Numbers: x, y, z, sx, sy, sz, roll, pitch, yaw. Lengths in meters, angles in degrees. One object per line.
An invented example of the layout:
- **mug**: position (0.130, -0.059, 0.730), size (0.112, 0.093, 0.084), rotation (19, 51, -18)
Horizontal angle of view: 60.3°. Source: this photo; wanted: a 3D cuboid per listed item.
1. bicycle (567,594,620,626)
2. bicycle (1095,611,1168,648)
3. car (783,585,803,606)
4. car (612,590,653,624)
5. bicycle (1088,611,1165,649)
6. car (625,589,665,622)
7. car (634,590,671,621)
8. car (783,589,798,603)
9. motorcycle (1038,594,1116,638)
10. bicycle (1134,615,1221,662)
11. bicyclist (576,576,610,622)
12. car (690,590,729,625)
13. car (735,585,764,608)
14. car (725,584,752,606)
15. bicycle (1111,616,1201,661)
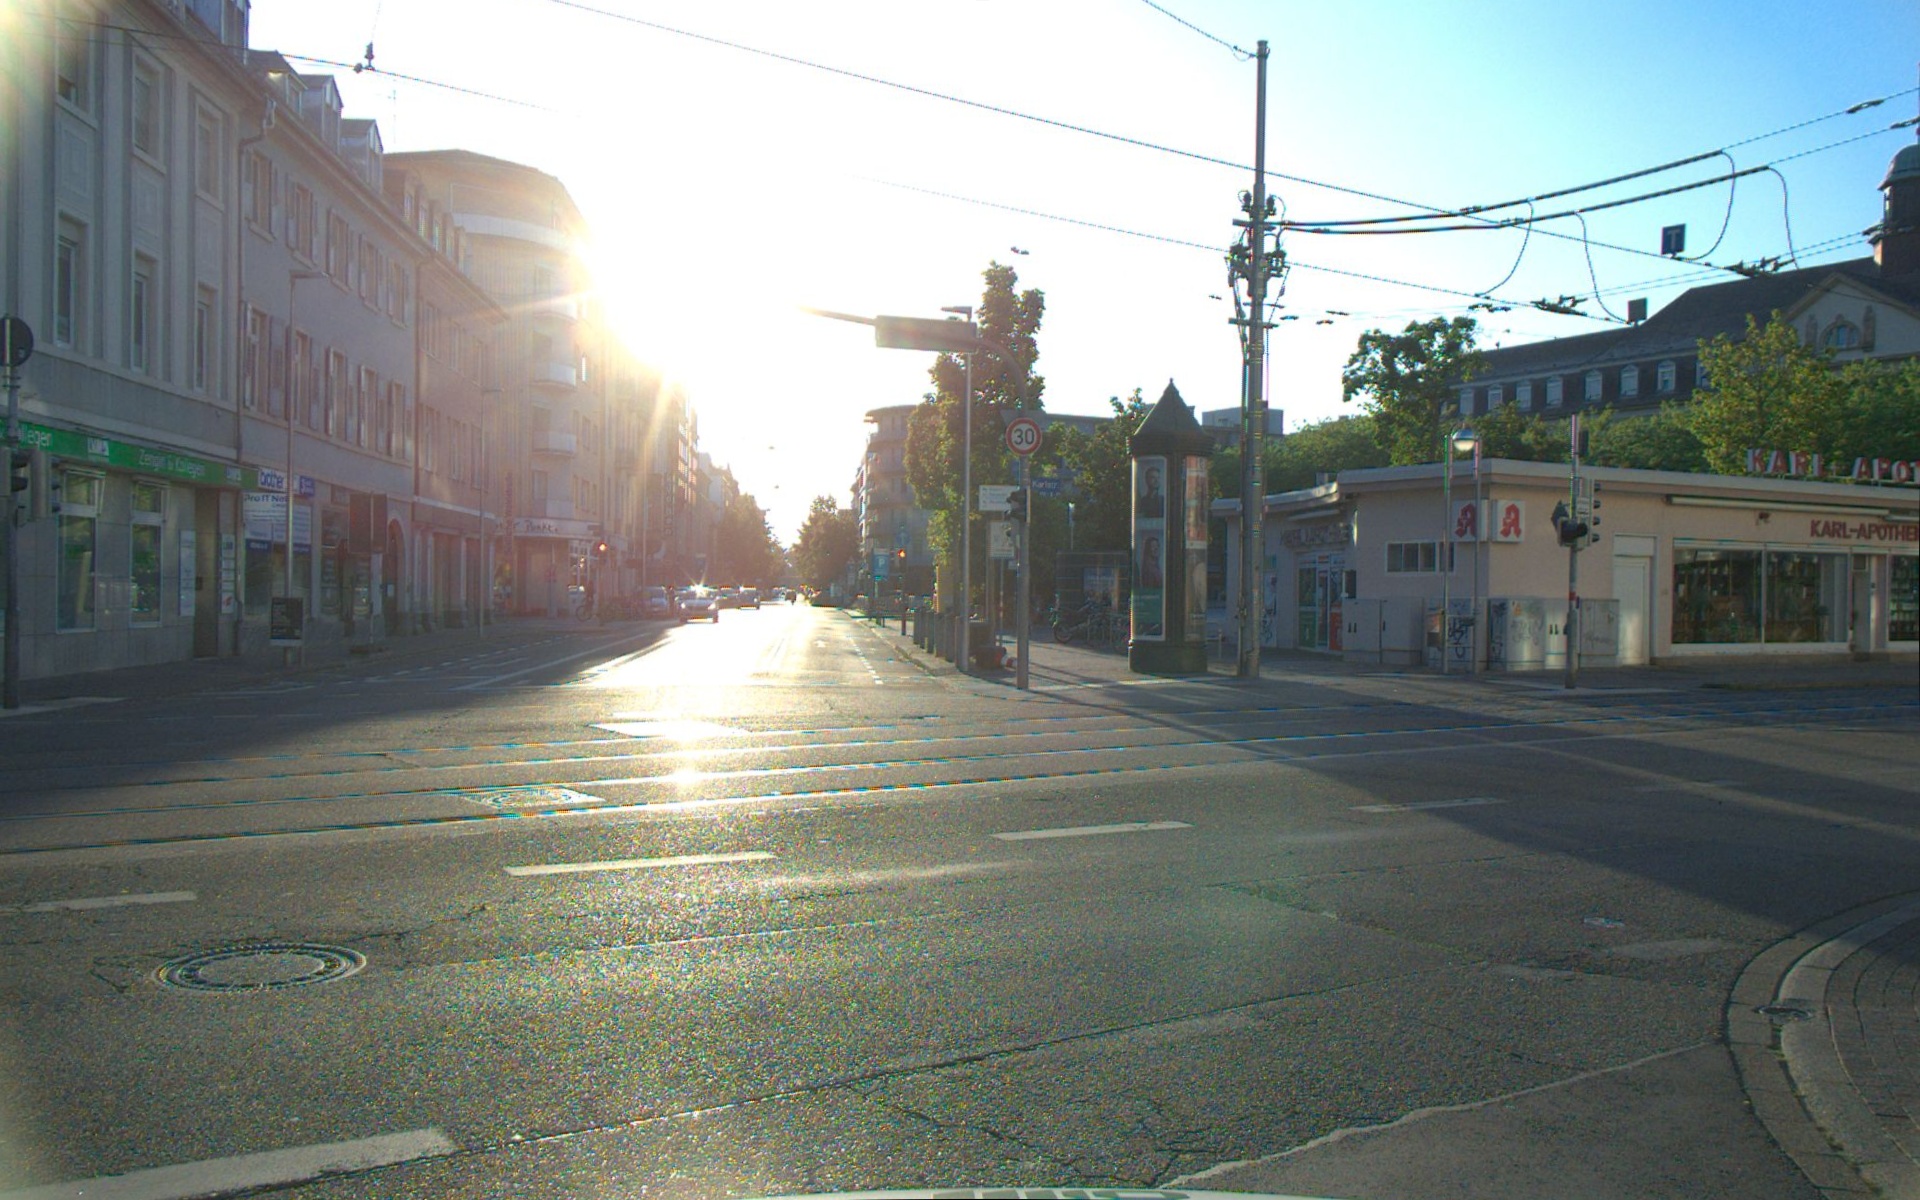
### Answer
- **bicycle**: position (-15.176, 0.421, 68.499), size (2.072, 1.225, 0.500), rotation (2, -1, 13)
- **bicycle**: position (4.762, 0.810, 46.018), size (1.995, 0.994, 0.560), rotation (1, -1, 3)
- **car**: position (-17.739, -0.452, 176.044), size (1.955, 2.049, 3.996), rotation (2, -1, -5)
- **car**: position (-14.765, 0.293, 74.663), size (1.515, 1.509, 3.348), rotation (0, 0, -6)
- **bicycle**: position (4.467, 0.802, 44.409), size (2.034, 0.999, 0.560), rotation (1, -1, 3)
- **car**: position (-14.905, 0.283, 78.306), size (1.515, 1.495, 3.348), rotation (1, -1, -6)
- **car**: position (-15.477, 0.279, 83.247), size (1.515, 1.494, 3.348), rotation (1, -1, -6)
- **car**: position (-25.117, -0.571, 245.607), size (1.954, 1.847, 3.997), rotation (2, -1, -3)
- **motorcycle**: position (3.347, 0.444, 47.495), size (2.188, 1.222, 0.720), rotation (1, 0, 0)
- **bicycle**: position (5.073, 0.898, 38.684), size (1.978, 1.062, 0.560), rotation (1, -1, 3)
- **bicyclist**: position (-15.194, -0.038, 68.526), size (1.105, 1.822, 0.765), rotation (2, -1, 13)
- **car**: position (-11.214, 0.352, 74.207), size (1.515, 1.493, 3.348), rotation (1, -1, -6)
- **car**: position (-16.534, -0.278, 129.997), size (1.954, 1.713, 3.997), rotation (0, 0, -3)
- **car**: position (-18.933, -0.422, 141.557), size (1.954, 1.709, 3.996), rotation (2, -1, -4)
- **bicycle**: position (4.686, 0.921, 39.693), size (2.102, 1.062, 0.560), rotation (1, -1, 3)
